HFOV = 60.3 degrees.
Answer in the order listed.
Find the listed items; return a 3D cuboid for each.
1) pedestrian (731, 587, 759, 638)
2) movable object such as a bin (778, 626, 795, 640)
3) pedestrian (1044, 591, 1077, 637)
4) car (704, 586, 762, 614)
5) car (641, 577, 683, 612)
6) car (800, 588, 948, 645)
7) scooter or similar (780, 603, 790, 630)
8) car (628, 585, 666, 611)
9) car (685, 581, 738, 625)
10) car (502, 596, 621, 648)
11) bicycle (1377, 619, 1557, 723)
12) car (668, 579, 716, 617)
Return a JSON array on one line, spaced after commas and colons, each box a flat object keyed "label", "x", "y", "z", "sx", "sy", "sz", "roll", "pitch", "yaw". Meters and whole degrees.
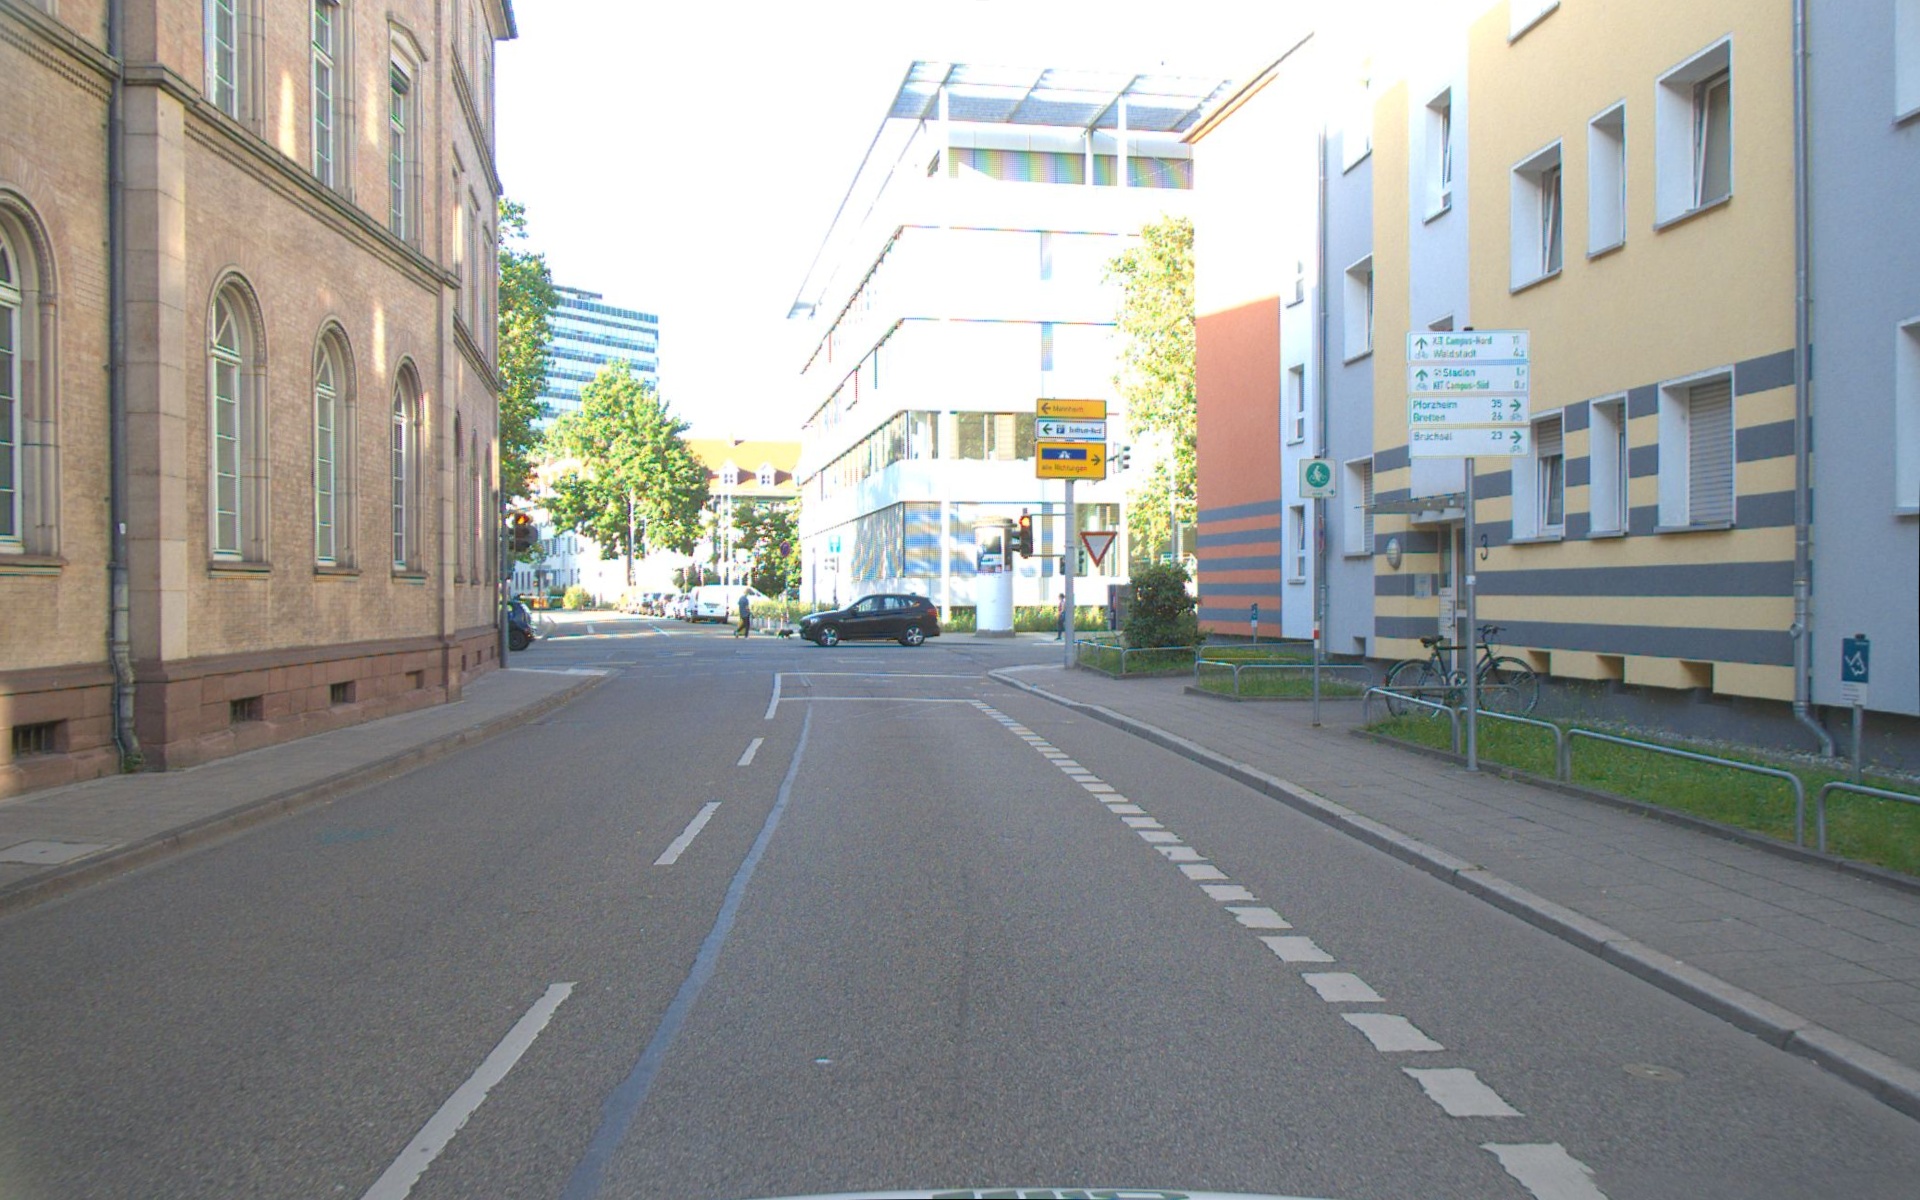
[{"label": "pedestrian", "x": -7.775, "y": 0.454, "z": 59.770, "sx": 0.911, "sy": 1.790, "sz": 0.845, "roll": 1, "pitch": -1, "yaw": -14}, {"label": "movable object such as a bin", "x": -6.439, "y": 1.227, "z": 61.483, "sx": 0.580, "sy": 0.489, "sz": 0.285, "roll": -1, "pitch": 0, "yaw": -17}, {"label": "pedestrian", "x": 3.456, "y": 0.480, "z": 57.132, "sx": 0.911, "sy": 1.542, "sz": 0.845, "roll": 1, "pitch": -1, "yaw": -14}, {"label": "car", "x": -16.956, "y": 0.023, "z": 123.755, "sx": 3.933, "sy": 1.949, "sz": 1.906, "roll": 2, "pitch": -1, "yaw": -24}, {"label": "car", "x": -19.241, "y": -0.359, "z": 106.767, "sx": 2.290, "sy": 2.149, "sz": 4.987, "roll": 1, "pitch": -1, "yaw": -14}, {"label": "car", "x": -2.676, "y": 0.479, "z": 50.842, "sx": 4.289, "sy": 1.662, "sz": 1.994, "roll": -1, "pitch": 0, "yaw": -12}, {"label": "scooter or similar", "x": -7.186, "y": 0.671, "z": 67.903, "sx": 0.319, "sy": 1.078, "sz": 1.139, "roll": -1, "pitch": 0, "yaw": -12}, {"label": "car", "x": -22.111, "y": -0.143, "z": 116.631, "sx": 2.290, "sy": 1.764, "sz": 4.987, "roll": 1, "pitch": -1, "yaw": -14}, {"label": "car", "x": -13.011, "y": 0.152, "z": 86.286, "sx": 2.382, "sy": 2.149, "sz": 5.215, "roll": 1, "pitch": -1, "yaw": -12}, {"label": "car", "x": -11.755, "y": 0.638, "z": 48.909, "sx": 3.370, "sy": 1.471, "sz": 1.768, "roll": 0, "pitch": 0, "yaw": -13}, {"label": "bicycle", "x": 5.420, "y": 0.749, "z": 17.734, "sx": 1.719, "sy": 1.021, "sz": 0.612, "roll": -2, "pitch": 0, "yaw": -5}, {"label": "car", "x": -15.828, "y": -0.116, "z": 97.410, "sx": 2.290, "sy": 2.149, "sz": 4.987, "roll": 1, "pitch": -1, "yaw": -14}]
